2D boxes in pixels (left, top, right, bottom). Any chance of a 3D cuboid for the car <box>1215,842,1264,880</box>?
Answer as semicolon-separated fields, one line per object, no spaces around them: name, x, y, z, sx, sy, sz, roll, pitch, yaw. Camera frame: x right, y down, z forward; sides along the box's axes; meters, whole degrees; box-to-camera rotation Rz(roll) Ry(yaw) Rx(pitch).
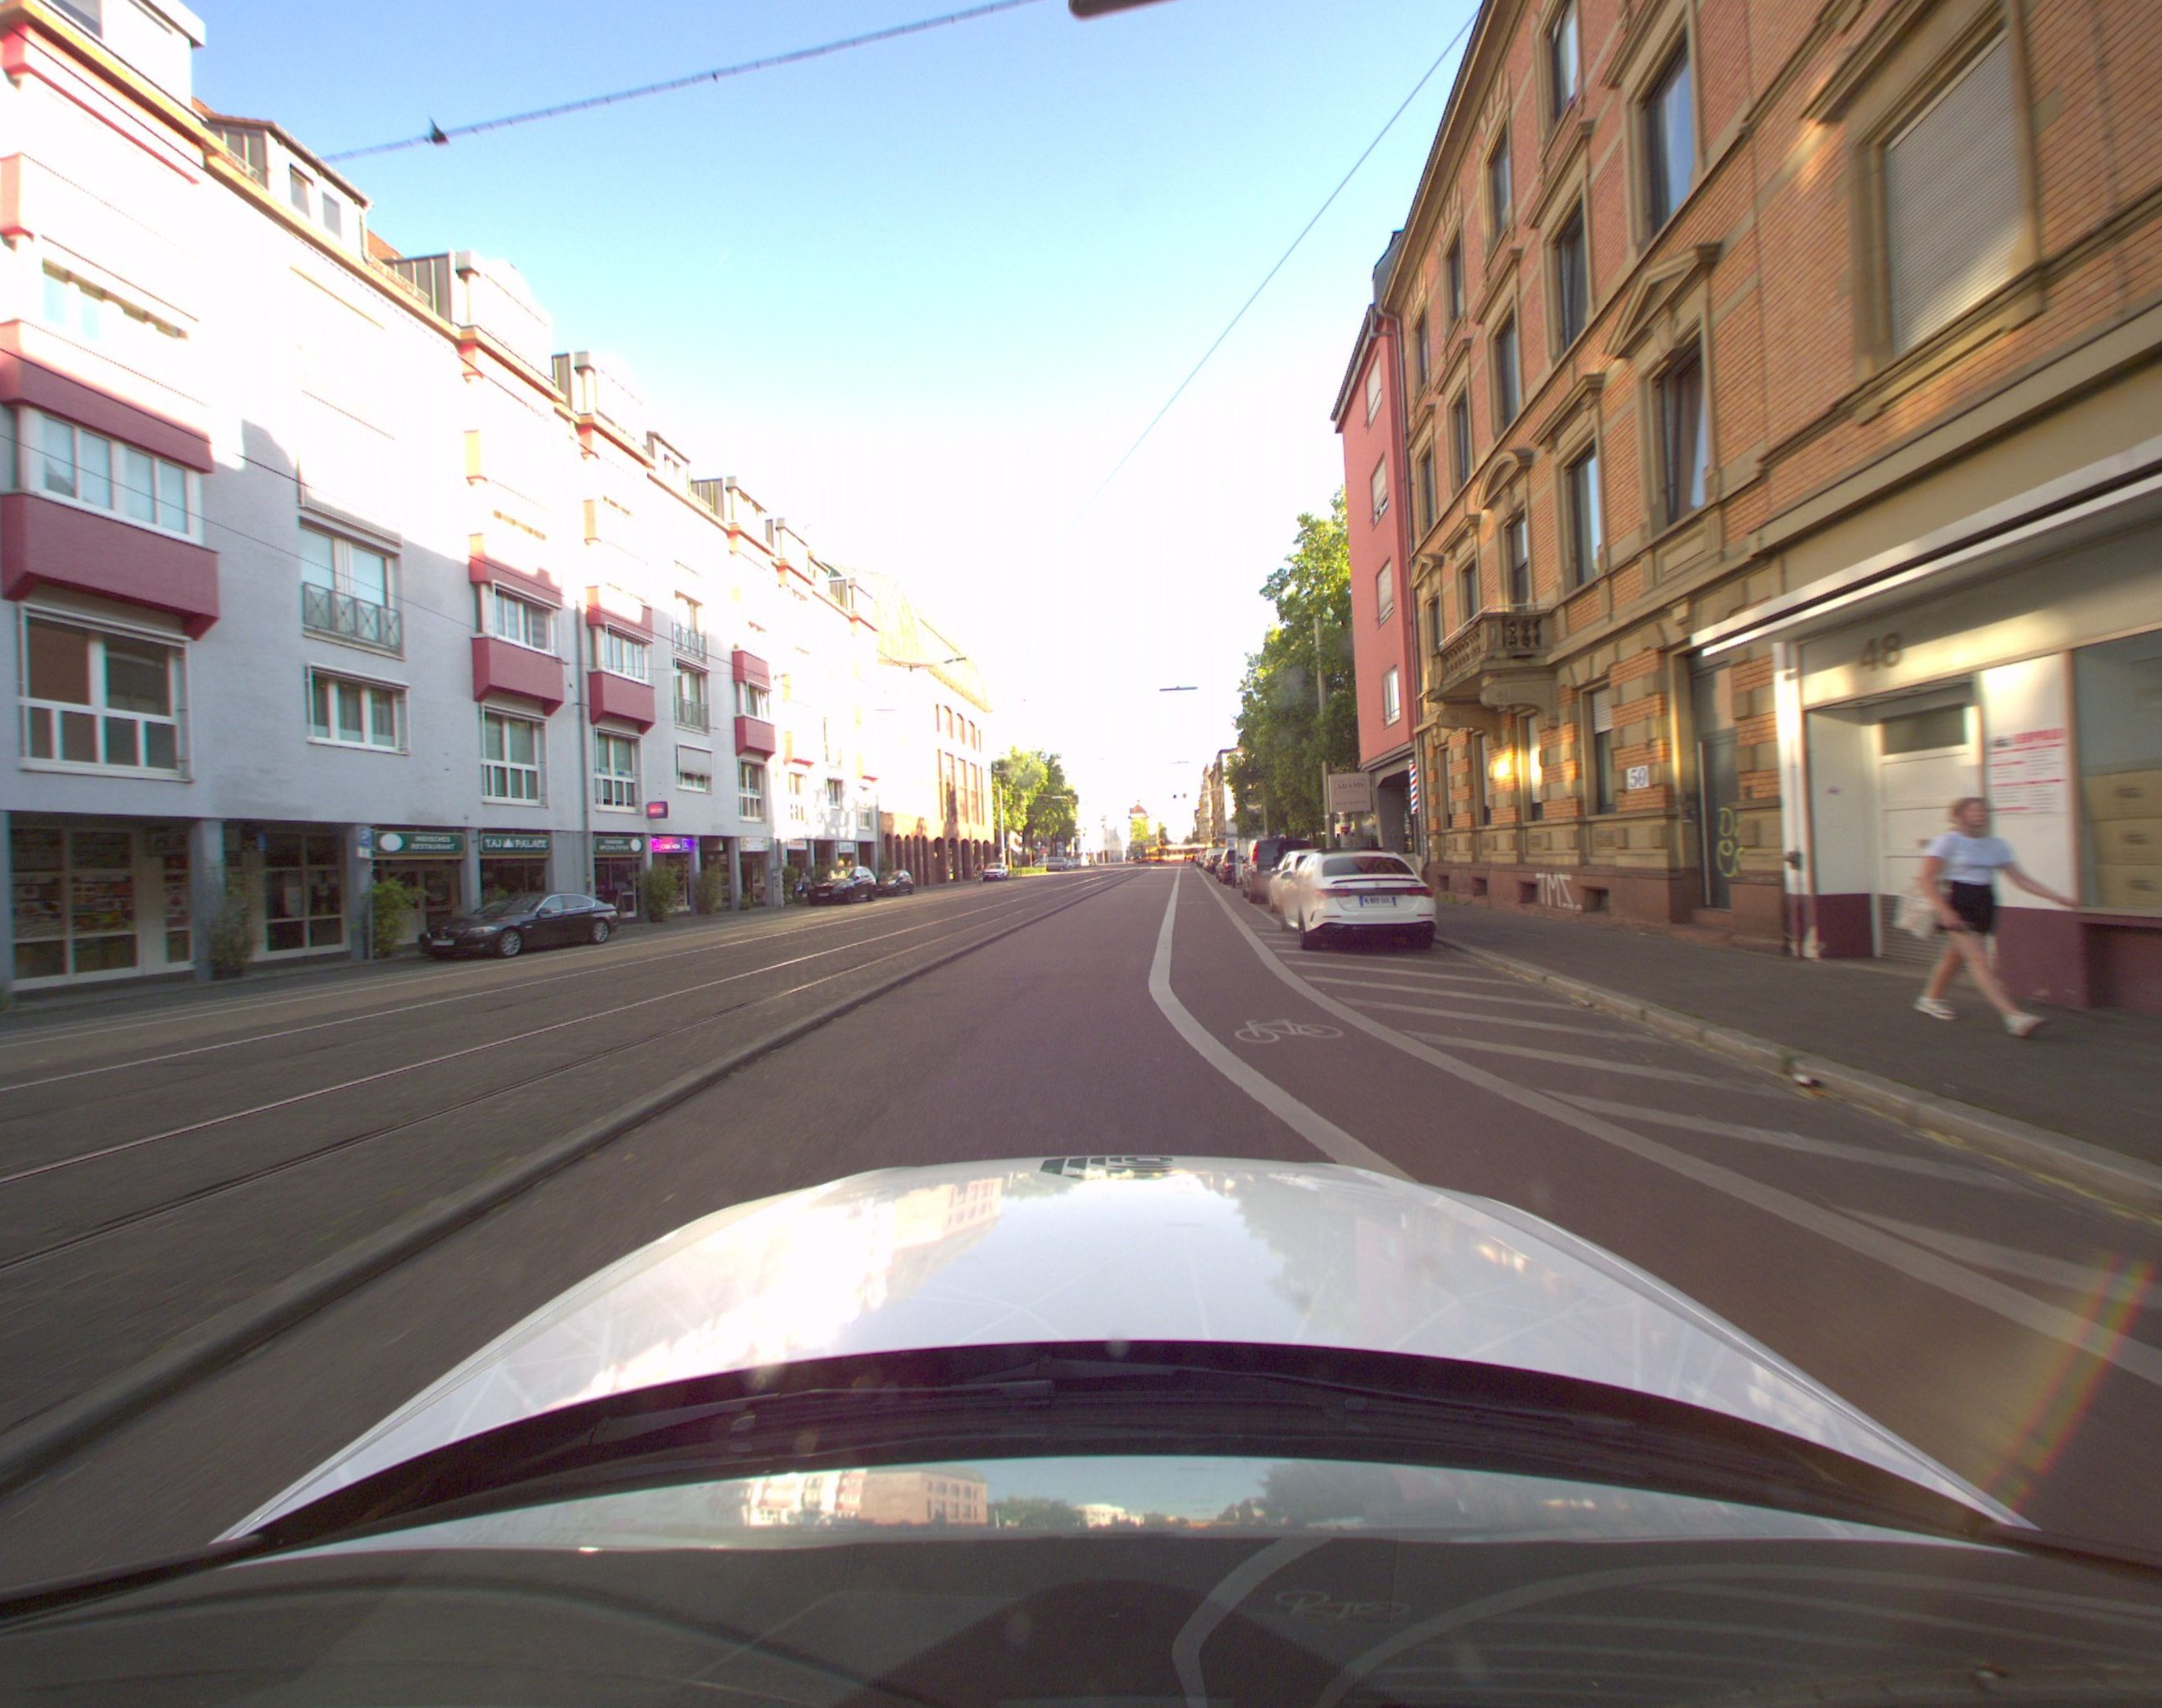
car;7.950;0.324;41.219;1.940;1.788;5.190;-1;0;6

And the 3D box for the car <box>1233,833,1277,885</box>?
car;7.606;0.231;35.868;1.695;2.120;3.717;-2;-1;10

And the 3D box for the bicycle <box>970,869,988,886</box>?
bicycle;-7.010;1.621;56.058;0.579;1.077;2.190;-5;0;7

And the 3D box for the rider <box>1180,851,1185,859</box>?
rider;18.755;0.242;149.890;0.878;1.481;0.714;-1;0;8

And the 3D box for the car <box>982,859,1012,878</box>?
car;-7.496;1.286;73.031;1.861;1.600;4.259;-2;0;4

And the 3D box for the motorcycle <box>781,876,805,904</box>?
motorcycle;-13.228;1.619;37.443;0.669;1.205;2.134;-1;-1;-9

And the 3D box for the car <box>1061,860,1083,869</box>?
car;-1.577;1.794;140.521;3.537;1.481;1.569;-1;0;-25

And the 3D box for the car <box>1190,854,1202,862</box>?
car;20.993;0.712;148.679;2.054;1.389;4.233;0;0;7

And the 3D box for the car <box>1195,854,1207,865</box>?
car;18.035;0.803;122.211;1.612;1.555;4.091;-1;0;7

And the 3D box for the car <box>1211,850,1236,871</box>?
car;10.356;0.460;59.545;1.612;1.431;3.993;-2;0;8

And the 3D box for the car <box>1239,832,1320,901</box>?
car;6.009;0.335;25.176;1.944;1.869;5.000;-1;0;8

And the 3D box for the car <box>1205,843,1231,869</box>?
car;11.853;0.169;70.762;1.960;2.014;4.568;-4;0;8

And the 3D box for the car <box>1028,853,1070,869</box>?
car;-4.352;0.908;110.959;5.278;2.043;2.398;0;-2;-25

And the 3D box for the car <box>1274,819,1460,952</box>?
car;4.450;0.434;13.505;1.955;1.771;4.886;-1;0;8

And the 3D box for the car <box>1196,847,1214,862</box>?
car;13.564;0.045;89.442;1.714;1.567;4.091;-3;0;7

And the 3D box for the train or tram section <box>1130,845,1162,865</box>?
train or tram section;13.376;0.113;166.153;2.668;3.960;12.156;0;0;23

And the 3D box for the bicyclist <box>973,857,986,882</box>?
bicyclist;-7.019;1.053;56.273;0.568;1.712;0.747;-5;-1;7

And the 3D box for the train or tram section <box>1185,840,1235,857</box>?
train or tram section;29.017;-1.163;183.005;11.290;3.752;2.682;0;0;-20

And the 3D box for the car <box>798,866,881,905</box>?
car;-11.476;1.459;39.074;2.080;1.713;4.827;-1;-1;6

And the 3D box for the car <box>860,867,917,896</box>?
car;-10.844;1.538;46.102;1.858;1.450;3.593;-2;0;10

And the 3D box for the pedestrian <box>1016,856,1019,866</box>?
pedestrian;-8.432;0.951;107.950;0.363;1.343;0.481;0;0;-13

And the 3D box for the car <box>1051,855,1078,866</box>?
car;-2.610;1.077;130.210;3.886;1.627;1.861;-1;0;-24

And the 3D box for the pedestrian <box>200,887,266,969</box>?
pedestrian;-18.750;1.622;18.023;0.740;1.712;0.616;-3;0;3

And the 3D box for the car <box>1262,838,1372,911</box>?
car;5.363;0.419;19.004;1.722;1.496;3.967;-1;0;5

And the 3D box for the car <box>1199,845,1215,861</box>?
car;14.737;-0.128;95.455;1.612;1.813;4.091;-1;0;7

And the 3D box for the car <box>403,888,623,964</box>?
car;-13.827;1.684;20.264;1.861;1.439;4.713;-2;0;5

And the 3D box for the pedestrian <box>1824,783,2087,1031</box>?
pedestrian;6.134;0.351;5.793;0.771;1.567;0.916;-6;-1;10

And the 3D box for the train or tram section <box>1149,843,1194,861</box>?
train or tram section;19.706;-0.458;176.422;2.666;3.878;12.922;0;0;42

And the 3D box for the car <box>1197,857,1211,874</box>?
car;15.104;1.440;100.074;1.612;2.006;3.838;-1;0;7
